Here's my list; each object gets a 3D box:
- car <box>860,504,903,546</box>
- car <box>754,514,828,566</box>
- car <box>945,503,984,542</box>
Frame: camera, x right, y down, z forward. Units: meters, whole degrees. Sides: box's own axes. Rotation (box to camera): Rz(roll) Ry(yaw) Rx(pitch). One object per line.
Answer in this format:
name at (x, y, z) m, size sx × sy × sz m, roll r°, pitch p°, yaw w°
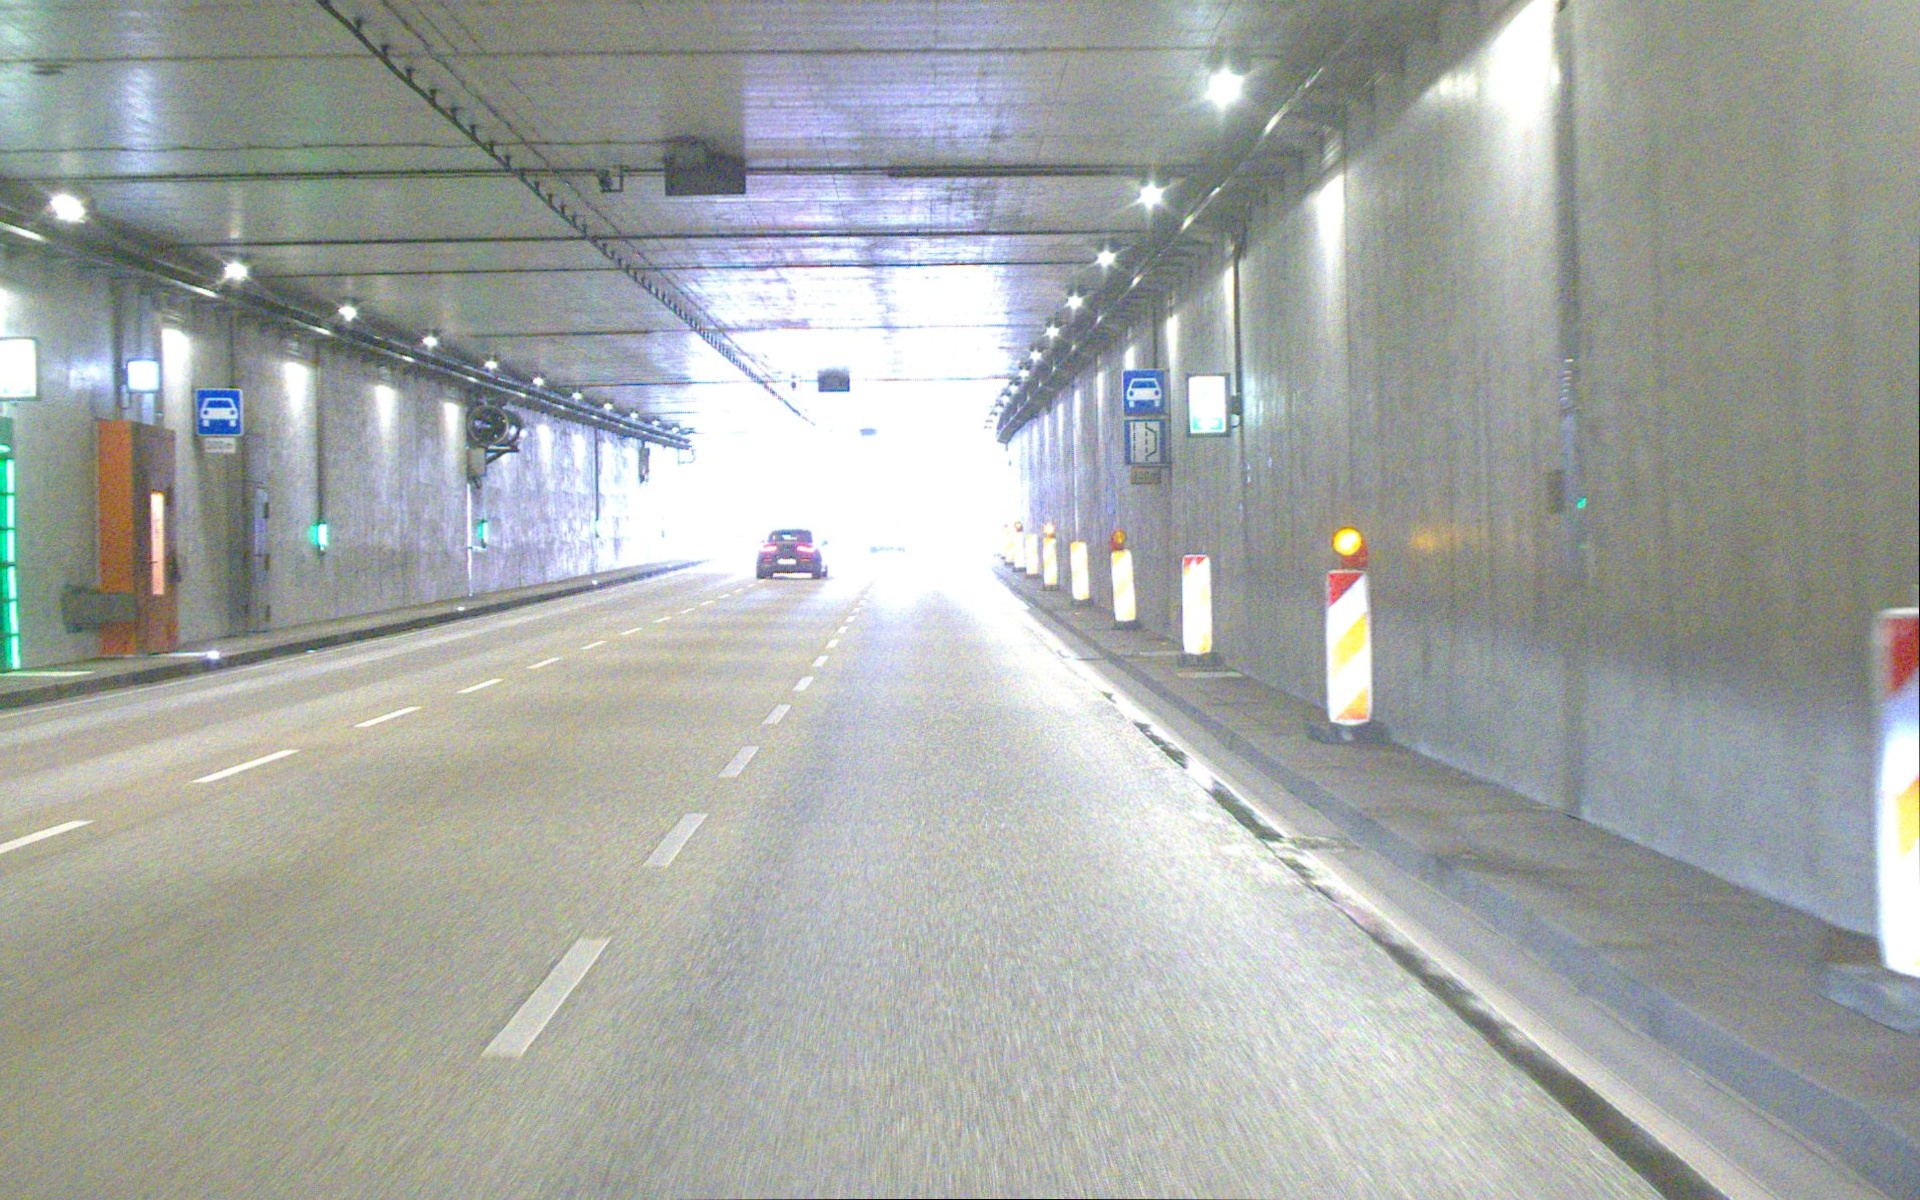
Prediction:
car at (-3.846, -3.696, 169.055) m, size 1.993 × 2.007 × 4.000 m, roll 0°, pitch 1°, yaw 0°
car at (-4.902, -1.744, 99.252) m, size 1.993 × 1.443 × 4.315 m, roll 0°, pitch 1°, yaw -4°
car at (0.230, -4.127, 183.410) m, size 1.993 × 2.007 × 4.000 m, roll 0°, pitch 1°, yaw 0°
